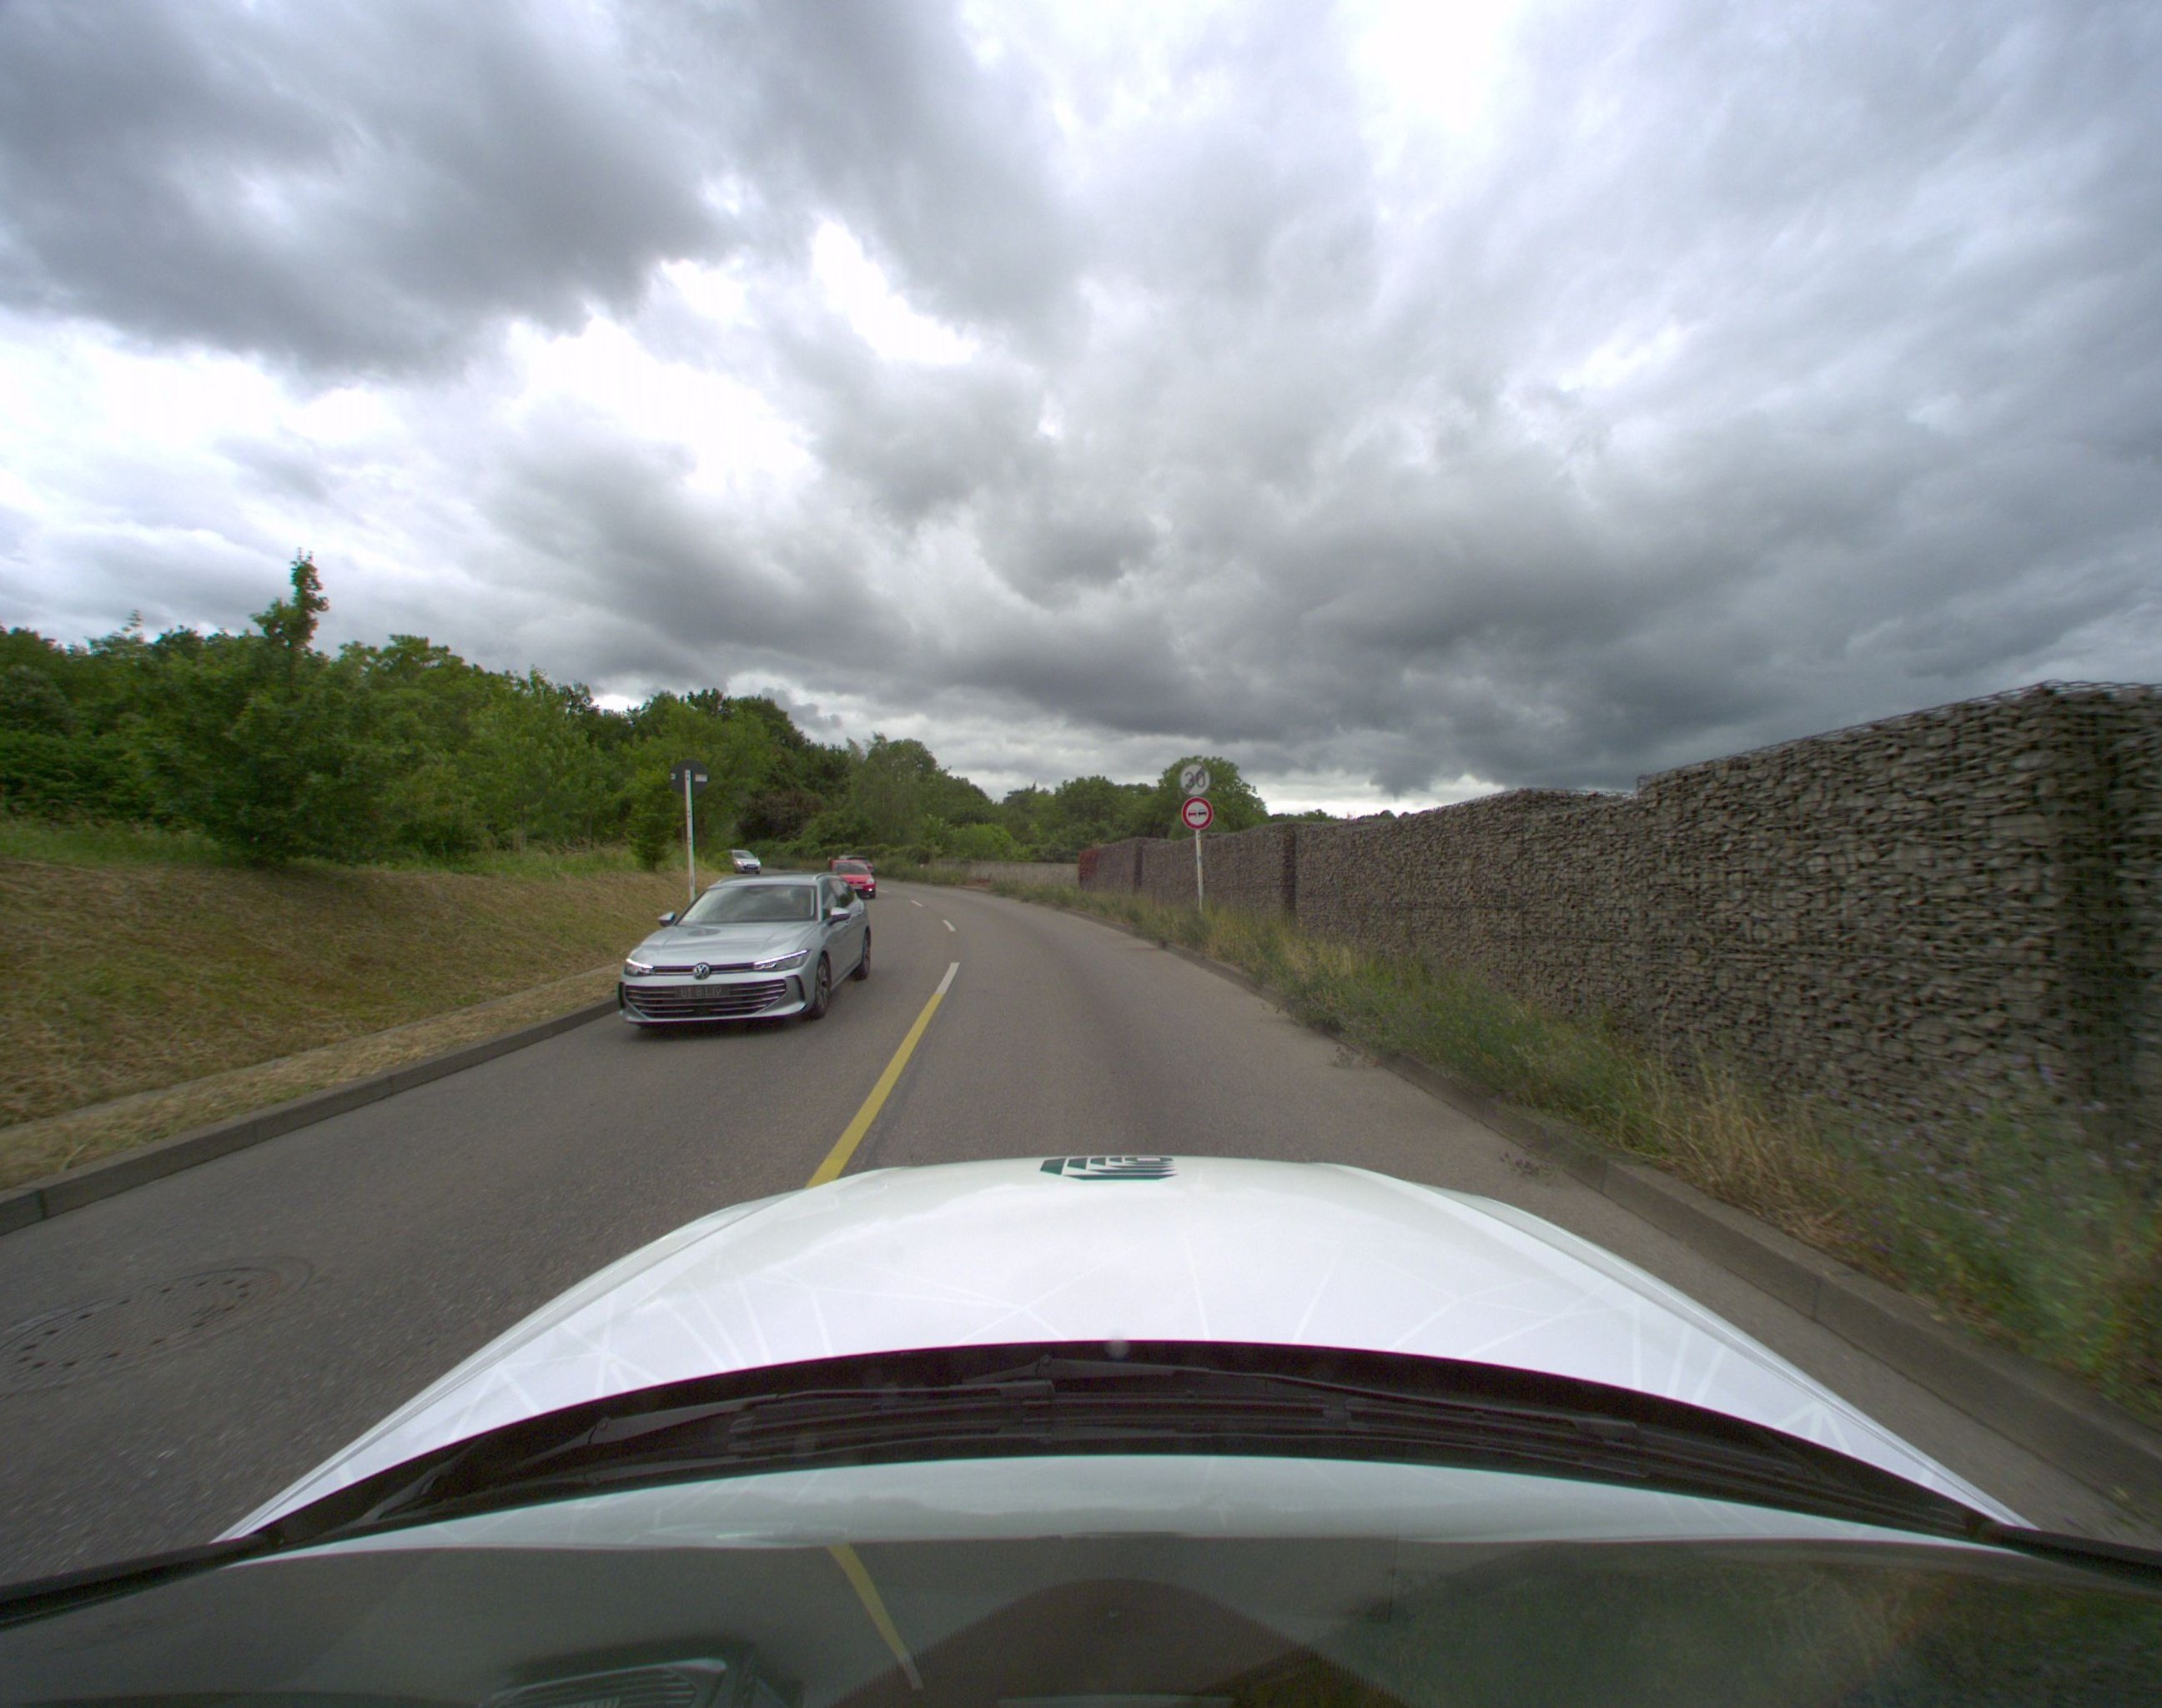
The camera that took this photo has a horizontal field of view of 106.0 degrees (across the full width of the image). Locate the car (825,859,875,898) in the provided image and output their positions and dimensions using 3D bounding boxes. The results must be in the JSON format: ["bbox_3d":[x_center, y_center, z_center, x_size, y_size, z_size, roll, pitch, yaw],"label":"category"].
[{"bbox_3d":[-9.056,0.915,31.892,1.745,1.416,3.732,1,0,-17],"label":"car"}]

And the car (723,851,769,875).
[{"bbox_3d":[-21.944,0.579,53.239,1.789,1.495,3.869,0,-1,-38],"label":"car"}]

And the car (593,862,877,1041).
[{"bbox_3d":[-3.680,0.893,9.663,1.880,1.477,4.590,-1,0,-7],"label":"car"}]

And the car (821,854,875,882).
[{"bbox_3d":[-13.289,0.746,46.308,1.853,1.483,3.958,-1,0,-33],"label":"car"}]
